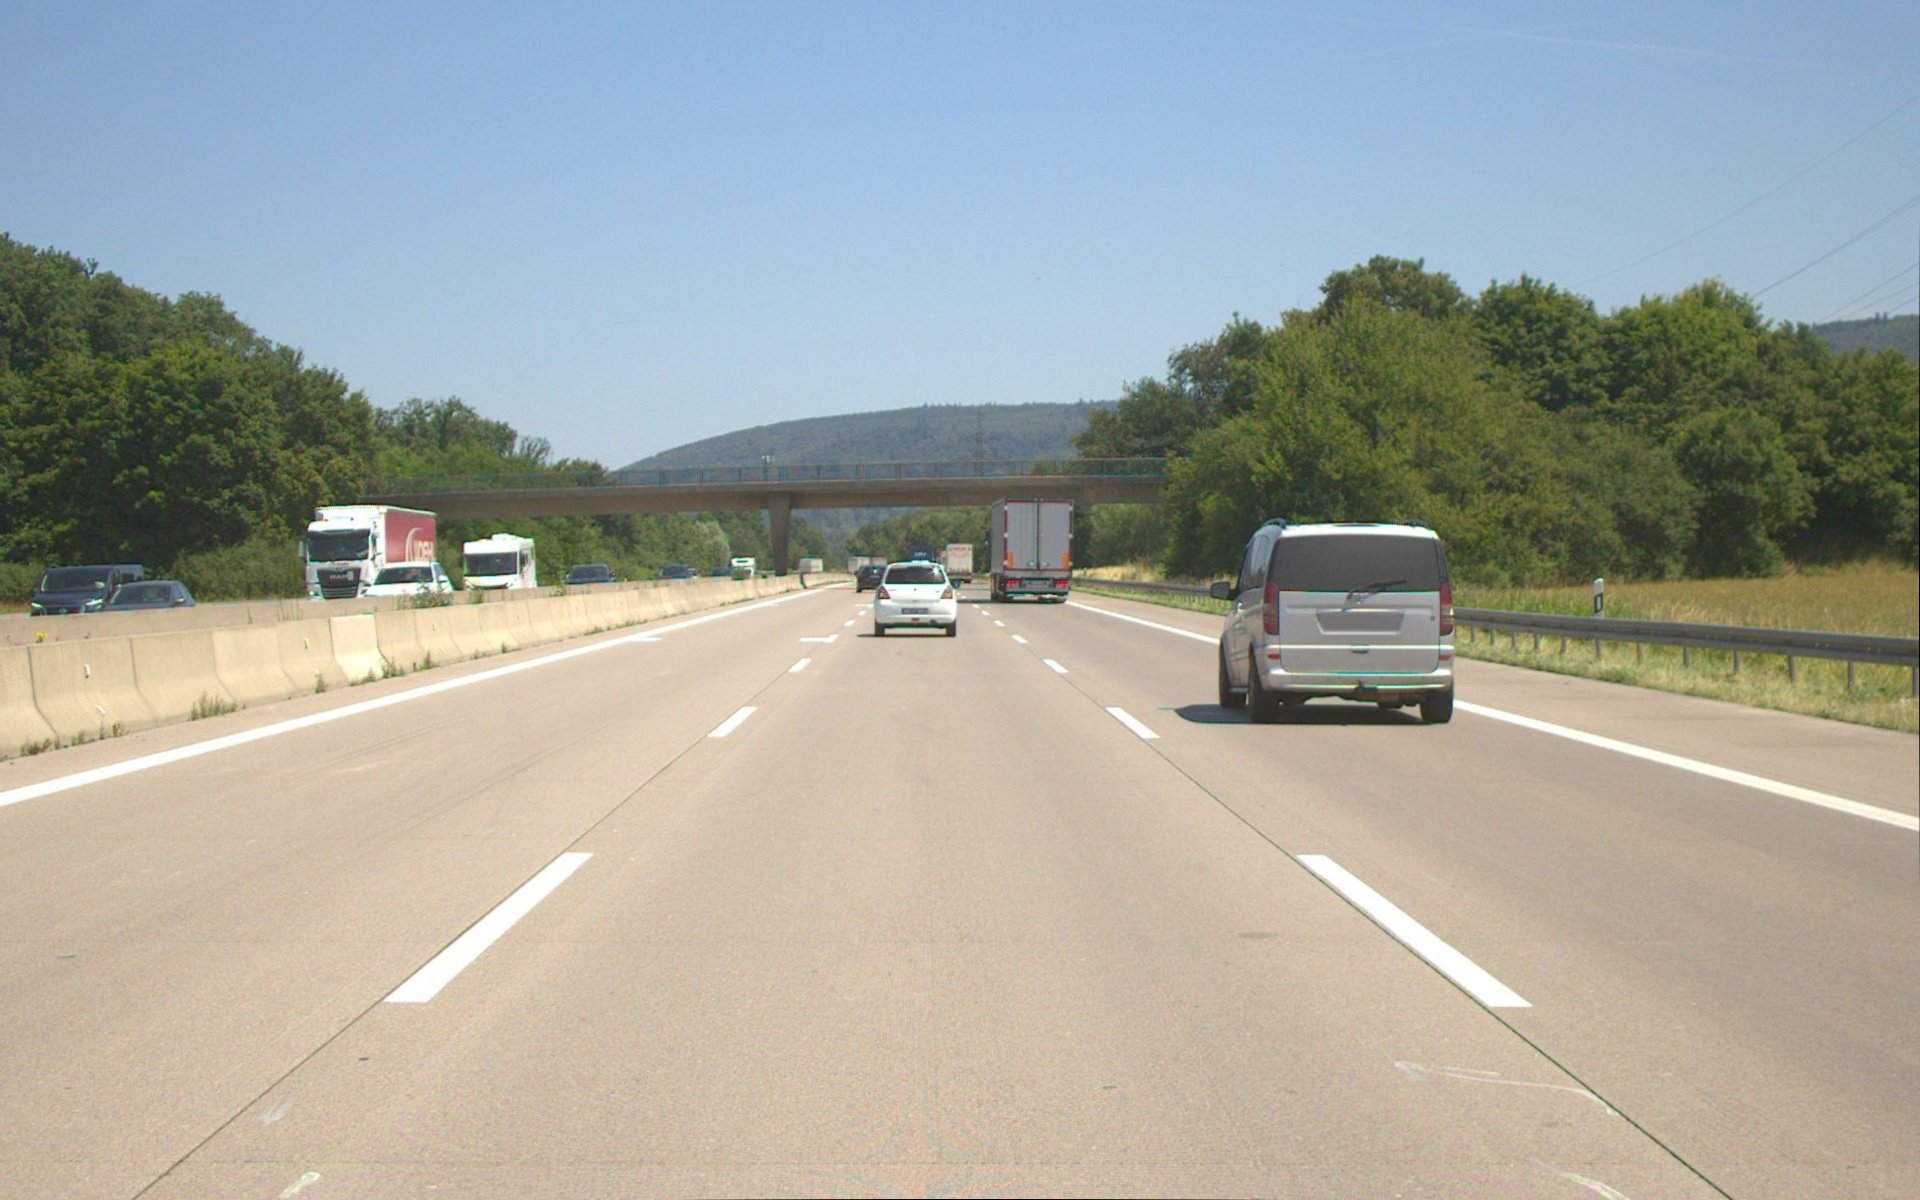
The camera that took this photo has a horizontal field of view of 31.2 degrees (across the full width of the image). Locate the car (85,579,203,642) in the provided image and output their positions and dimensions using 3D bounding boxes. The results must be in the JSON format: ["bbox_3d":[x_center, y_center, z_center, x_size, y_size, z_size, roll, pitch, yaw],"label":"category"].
[{"bbox_3d":[-18.205,0.221,76.815,1.695,1.329,4.000,-1,1,0],"label":"car"}]

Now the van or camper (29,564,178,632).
[{"bbox_3d":[-21.684,-0.070,87.296,2.365,1.616,6.092,-1,1,-1],"label":"van or camper"}]

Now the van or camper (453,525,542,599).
[{"bbox_3d":[-18.674,-1.546,139.129,2.525,2.880,7.938,-1,1,0],"label":"van or camper"}]

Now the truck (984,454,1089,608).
[{"bbox_3d":[2.924,-2.686,137.911,3.577,5.768,18.248,0,1,-1],"label":"truck"}]

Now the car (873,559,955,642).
[{"bbox_3d":[-0.944,-0.013,70.926,1.641,1.656,3.360,1,1,-1],"label":"car"}]

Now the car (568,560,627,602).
[{"bbox_3d":[-13.880,-0.757,131.997,1.794,1.550,4.601,-1,1,0],"label":"car"}]

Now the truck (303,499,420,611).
[{"bbox_3d":[-21.871,-1.650,126.009,3.000,3.969,7.295,-1,1,0],"label":"truck"}]

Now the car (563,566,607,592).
[{"bbox_3d":[-18.784,-1.072,172.191,1.688,1.259,4.791,-1,1,0],"label":"car"}]

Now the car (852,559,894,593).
[{"bbox_3d":[-4.571,-1.235,179.245,2.022,1.695,4.000,1,0,-3],"label":"car"}]

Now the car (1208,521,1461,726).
[{"bbox_3d":[3.627,0.183,34.206,1.879,1.882,5.280,0,1,-1],"label":"car"}]

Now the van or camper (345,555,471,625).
[{"bbox_3d":[-13.774,-0.284,86.121,2.241,1.687,5.850,0,1,0],"label":"van or camper"}]
